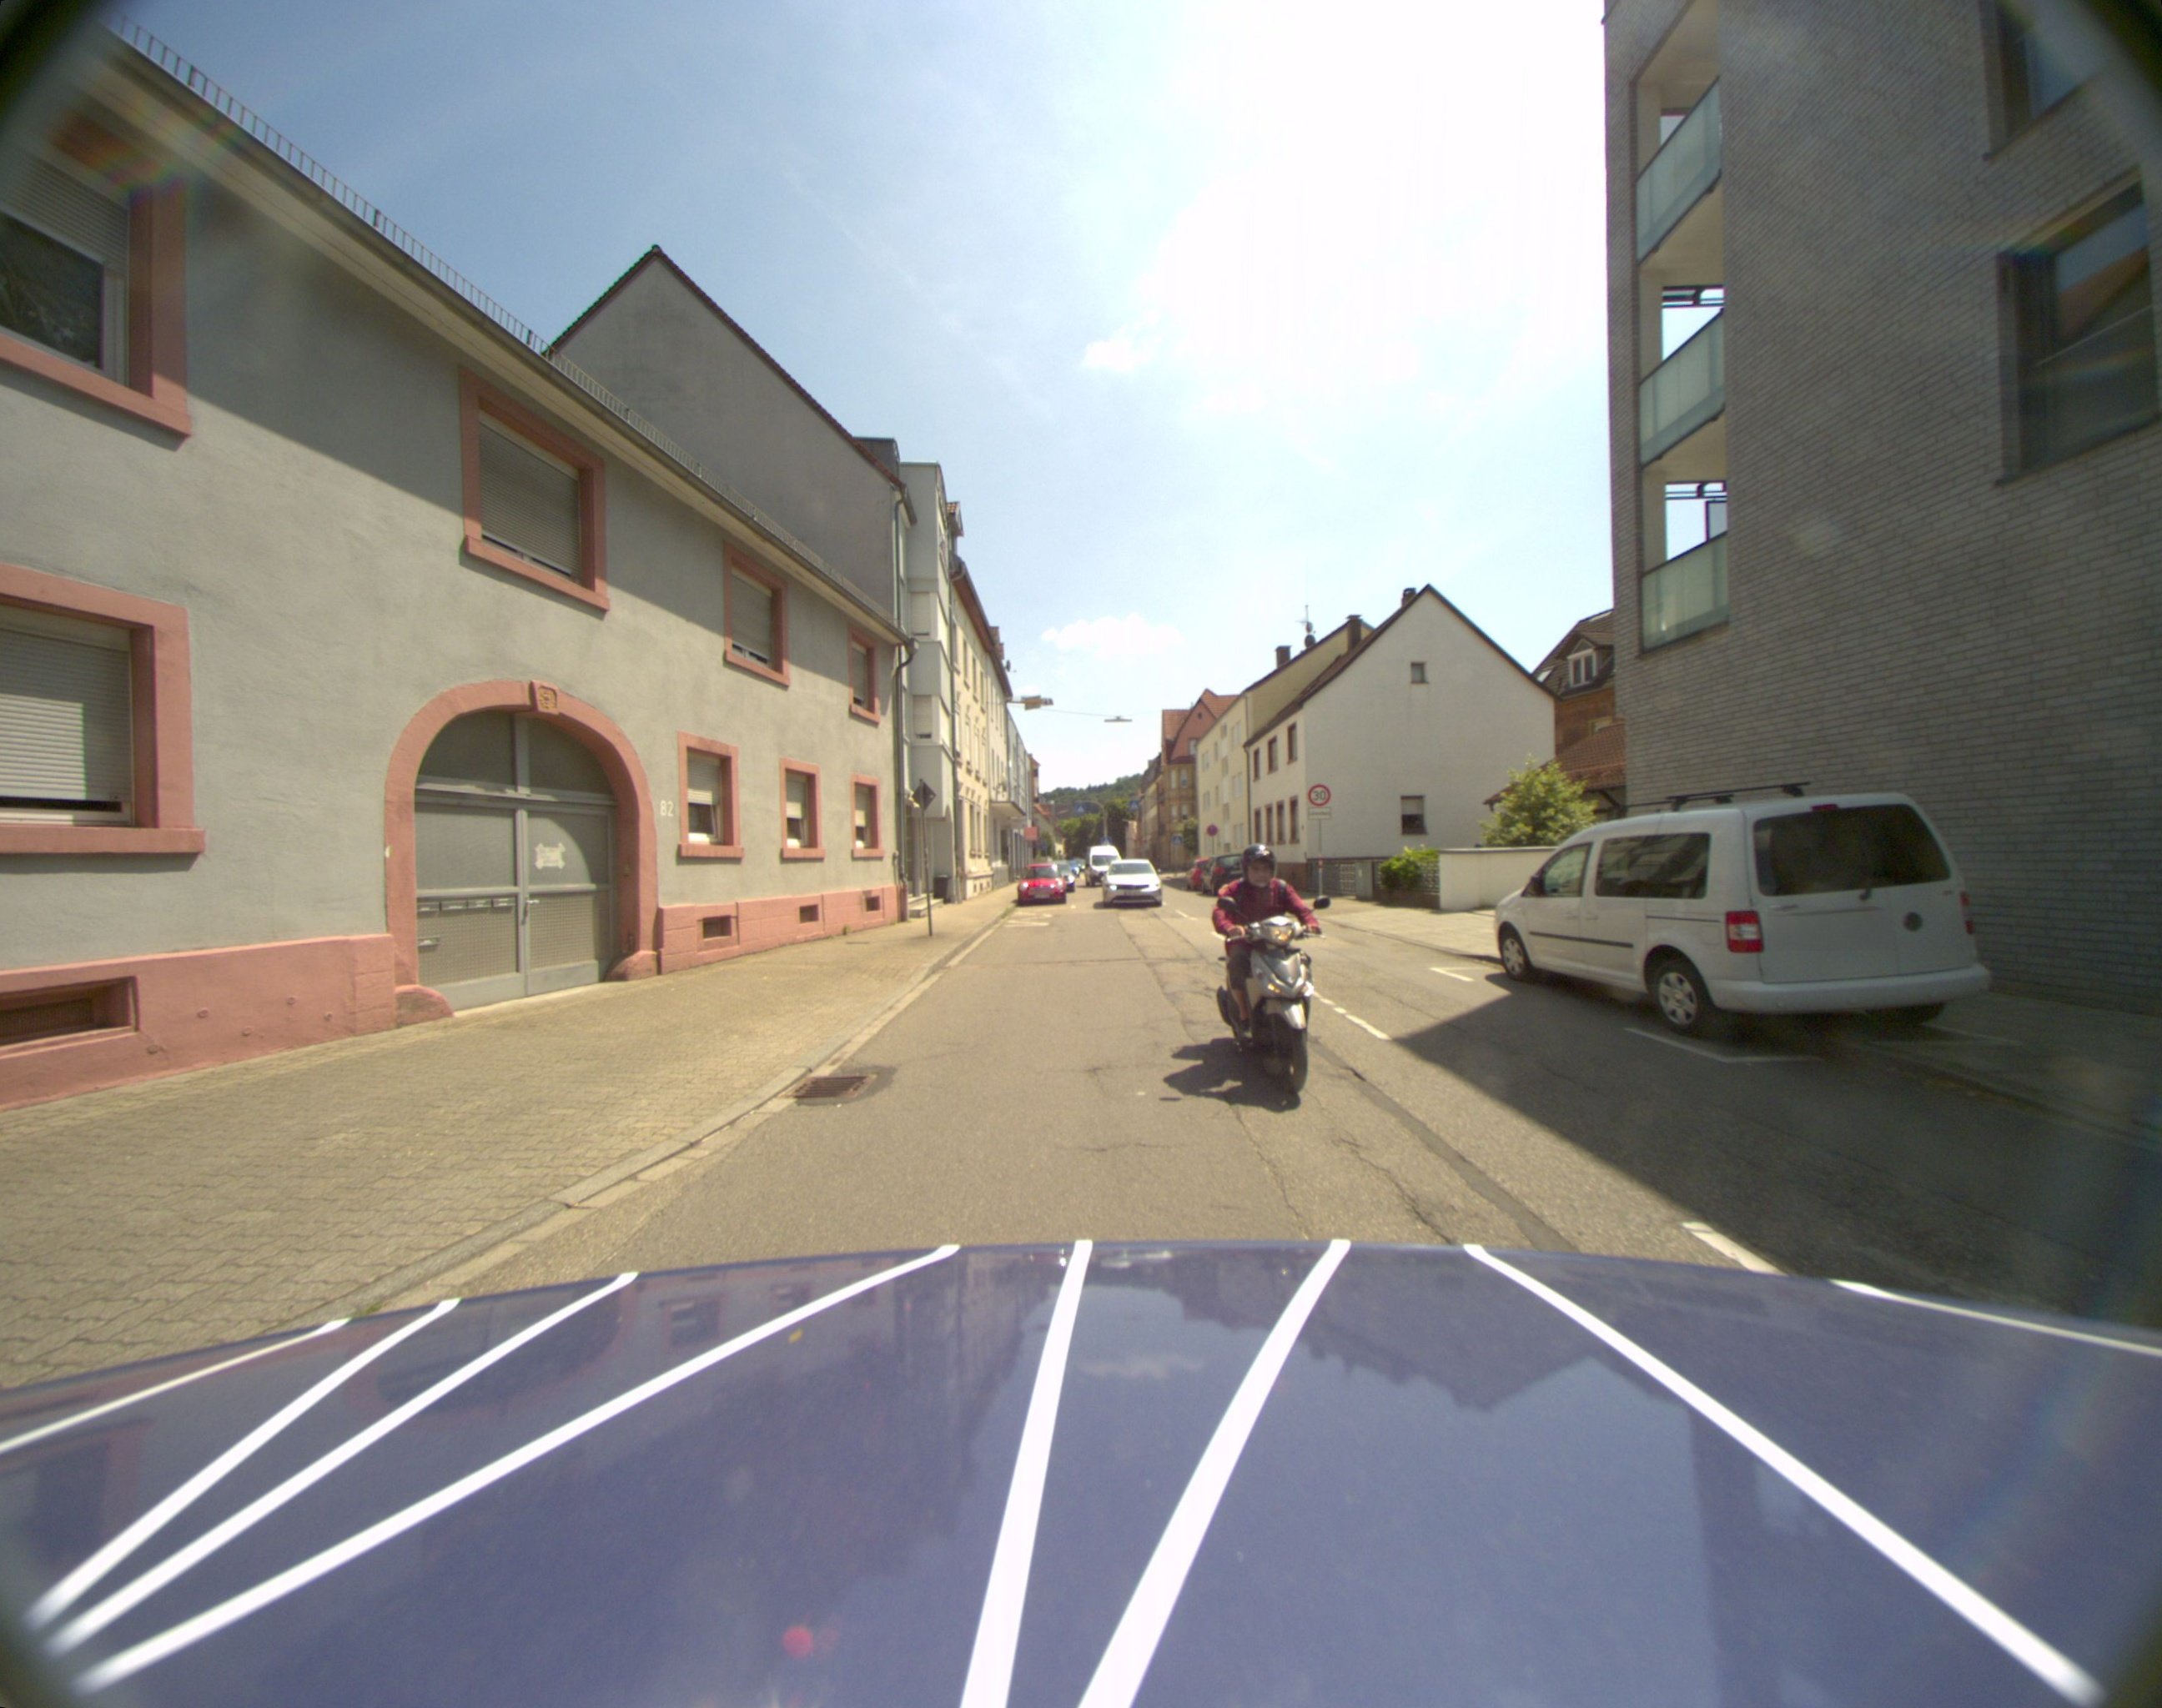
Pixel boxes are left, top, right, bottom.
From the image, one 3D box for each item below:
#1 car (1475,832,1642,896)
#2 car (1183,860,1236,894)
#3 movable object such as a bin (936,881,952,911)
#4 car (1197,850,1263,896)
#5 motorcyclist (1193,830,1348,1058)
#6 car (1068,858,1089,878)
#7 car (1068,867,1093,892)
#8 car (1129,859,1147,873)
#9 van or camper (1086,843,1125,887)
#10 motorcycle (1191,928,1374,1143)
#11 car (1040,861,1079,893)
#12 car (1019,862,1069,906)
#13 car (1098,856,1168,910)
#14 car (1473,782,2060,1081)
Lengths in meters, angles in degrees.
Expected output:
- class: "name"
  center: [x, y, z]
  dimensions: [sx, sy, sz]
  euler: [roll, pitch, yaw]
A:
- class: "car"
  center: [13.001, 0.297, 20.781]
  dimensions: [3.555, 1.530, 1.641]
  euler: [-4, 0, 43]
- class: "car"
  center: [5.878, 1.023, 35.218]
  dimensions: [1.838, 1.408, 4.290]
  euler: [-2, 0, 3]
- class: "movable object such as a bin"
  center: [-4.450, 1.361, 24.689]
  dimensions: [0.474, 0.929, 0.487]
  euler: [-1, 0, -7]
- class: "car"
  center: [5.820, 0.708, 30.088]
  dimensions: [1.799, 1.637, 3.945]
  euler: [-3, 0, 1]
- class: "motorcyclist"
  center: [1.286, 0.582, 5.375]
  dimensions: [0.793, 1.431, 1.020]
  euler: [-3, 0, 1]
- class: "car"
  center: [-0.244, 1.540, 82.796]
  dimensions: [1.998, 2.002, 4.000]
  euler: [-3, 0, 1]
- class: "car"
  center: [-0.008, 2.174, 66.053]
  dimensions: [1.998, 2.002, 4.000]
  euler: [-3, 0, 1]
- class: "car"
  center: [6.027, 1.250, 80.668]
  dimensions: [1.787, 1.449, 4.635]
  euler: [-1, 0, 2]
- class: "van or camper"
  center: [1.323, 0.601, 42.776]
  dimensions: [1.998, 2.273, 5.145]
  euler: [-1, -1, 0]
- class: "motorcycle"
  center: [1.313, 1.151, 5.408]
  dimensions: [0.760, 1.049, 1.992]
  euler: [-3, -1, 1]
- class: "car"
  center: [-1.051, 1.074, 36.931]
  dimensions: [1.734, 1.412, 4.544]
  euler: [-2, 0, -2]
- class: "car"
  center: [-1.274, 1.024, 27.175]
  dimensions: [1.623, 1.377, 3.538]
  euler: [-2, 0, -2]
- class: "car"
  center: [1.574, 0.871, 24.189]
  dimensions: [1.812, 1.512, 4.000]
  euler: [-2, -1, -1]
- class: "car"
  center: [5.656, 0.539, 7.221]
  dimensions: [1.761, 1.881, 4.338]
  euler: [-4, 0, 4]
